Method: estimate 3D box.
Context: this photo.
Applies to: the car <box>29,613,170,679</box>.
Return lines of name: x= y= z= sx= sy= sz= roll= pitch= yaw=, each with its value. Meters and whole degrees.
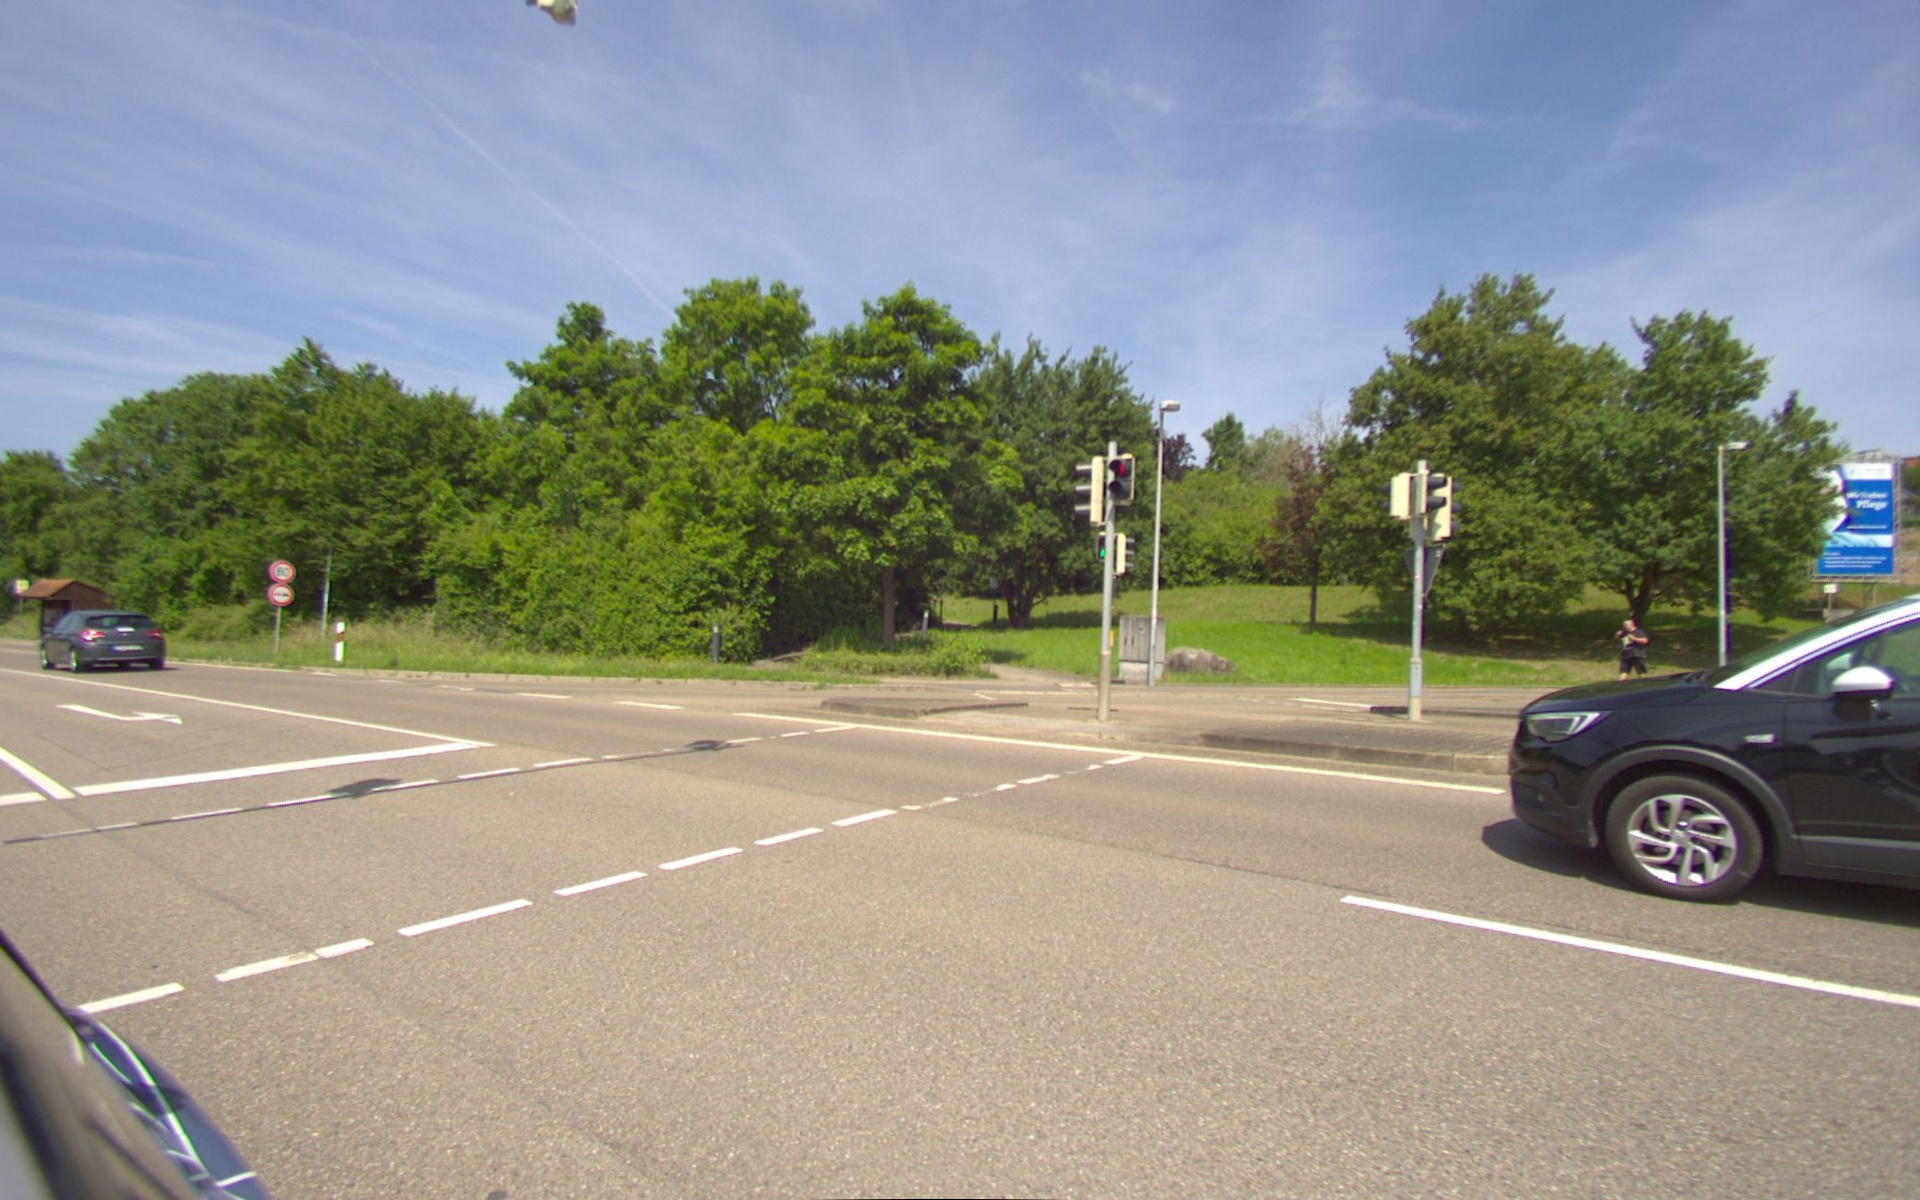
car: x=-21.371 y=1.072 z=25.083 sx=4.303 sy=1.485 sz=1.774 roll=-1 pitch=-1 yaw=37

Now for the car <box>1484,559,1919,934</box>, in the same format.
car: x=4.986 y=0.618 z=4.733 sx=4.186 sy=1.574 sz=1.954 roll=-1 pitch=-1 yaw=40

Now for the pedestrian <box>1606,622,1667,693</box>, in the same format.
pedestrian: x=17.204 y=1.438 z=25.761 sx=0.907 sy=1.749 sz=0.901 roll=0 pitch=-1 yaw=-14
